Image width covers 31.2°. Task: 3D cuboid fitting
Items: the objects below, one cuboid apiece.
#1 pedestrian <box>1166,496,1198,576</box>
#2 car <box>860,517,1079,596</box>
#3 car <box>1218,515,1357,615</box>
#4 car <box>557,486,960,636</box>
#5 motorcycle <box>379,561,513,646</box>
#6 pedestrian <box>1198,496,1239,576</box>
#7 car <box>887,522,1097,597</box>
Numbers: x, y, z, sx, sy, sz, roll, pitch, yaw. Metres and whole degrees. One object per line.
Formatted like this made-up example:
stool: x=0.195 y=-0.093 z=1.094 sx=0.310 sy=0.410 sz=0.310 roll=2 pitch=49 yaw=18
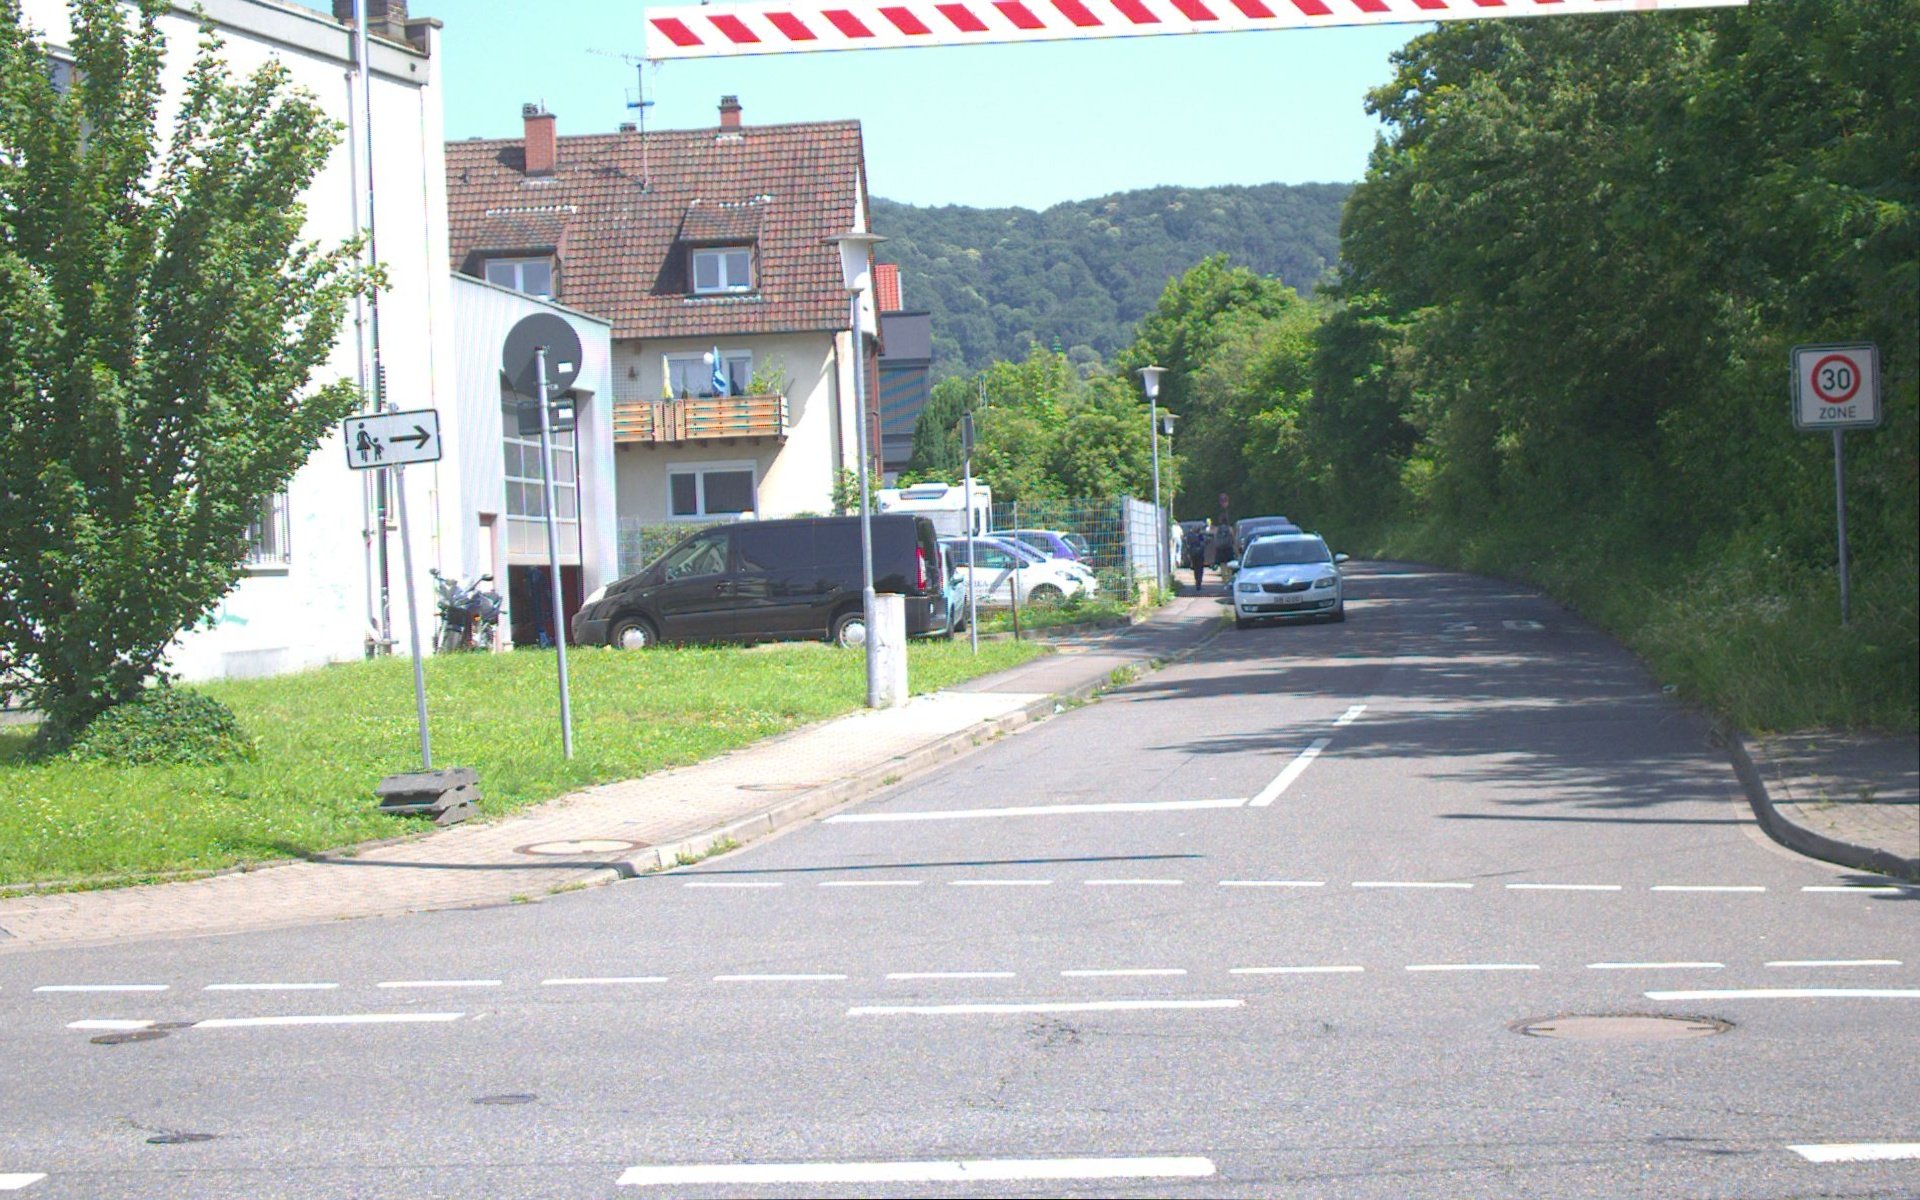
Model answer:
pedestrian: x=4.970 y=-1.425 z=76.949 sx=0.654 sy=1.757 sz=0.803 roll=0 pitch=0 yaw=7
car: x=0.181 y=-0.764 z=61.613 sx=3.722 sy=1.367 sz=1.604 roll=0 pitch=0 yaw=9
car: x=5.515 y=-0.616 z=57.413 sx=2.087 sy=1.505 sz=4.538 roll=0 pitch=2 yaw=8
car: x=-2.764 y=-0.536 z=47.859 sx=5.249 sy=1.810 sz=2.000 roll=-3 pitch=0 yaw=7
motorcycle: x=-6.448 y=0.050 z=43.241 sx=0.852 sy=1.028 sz=2.566 roll=0 pitch=0 yaw=11
pedestrian: x=5.773 y=-1.424 z=76.861 sx=0.876 sy=1.757 sz=0.731 roll=0 pitch=0 yaw=7
car: x=0.610 y=-0.751 z=64.346 sx=3.722 sy=1.367 sz=1.604 roll=0 pitch=0 yaw=9
